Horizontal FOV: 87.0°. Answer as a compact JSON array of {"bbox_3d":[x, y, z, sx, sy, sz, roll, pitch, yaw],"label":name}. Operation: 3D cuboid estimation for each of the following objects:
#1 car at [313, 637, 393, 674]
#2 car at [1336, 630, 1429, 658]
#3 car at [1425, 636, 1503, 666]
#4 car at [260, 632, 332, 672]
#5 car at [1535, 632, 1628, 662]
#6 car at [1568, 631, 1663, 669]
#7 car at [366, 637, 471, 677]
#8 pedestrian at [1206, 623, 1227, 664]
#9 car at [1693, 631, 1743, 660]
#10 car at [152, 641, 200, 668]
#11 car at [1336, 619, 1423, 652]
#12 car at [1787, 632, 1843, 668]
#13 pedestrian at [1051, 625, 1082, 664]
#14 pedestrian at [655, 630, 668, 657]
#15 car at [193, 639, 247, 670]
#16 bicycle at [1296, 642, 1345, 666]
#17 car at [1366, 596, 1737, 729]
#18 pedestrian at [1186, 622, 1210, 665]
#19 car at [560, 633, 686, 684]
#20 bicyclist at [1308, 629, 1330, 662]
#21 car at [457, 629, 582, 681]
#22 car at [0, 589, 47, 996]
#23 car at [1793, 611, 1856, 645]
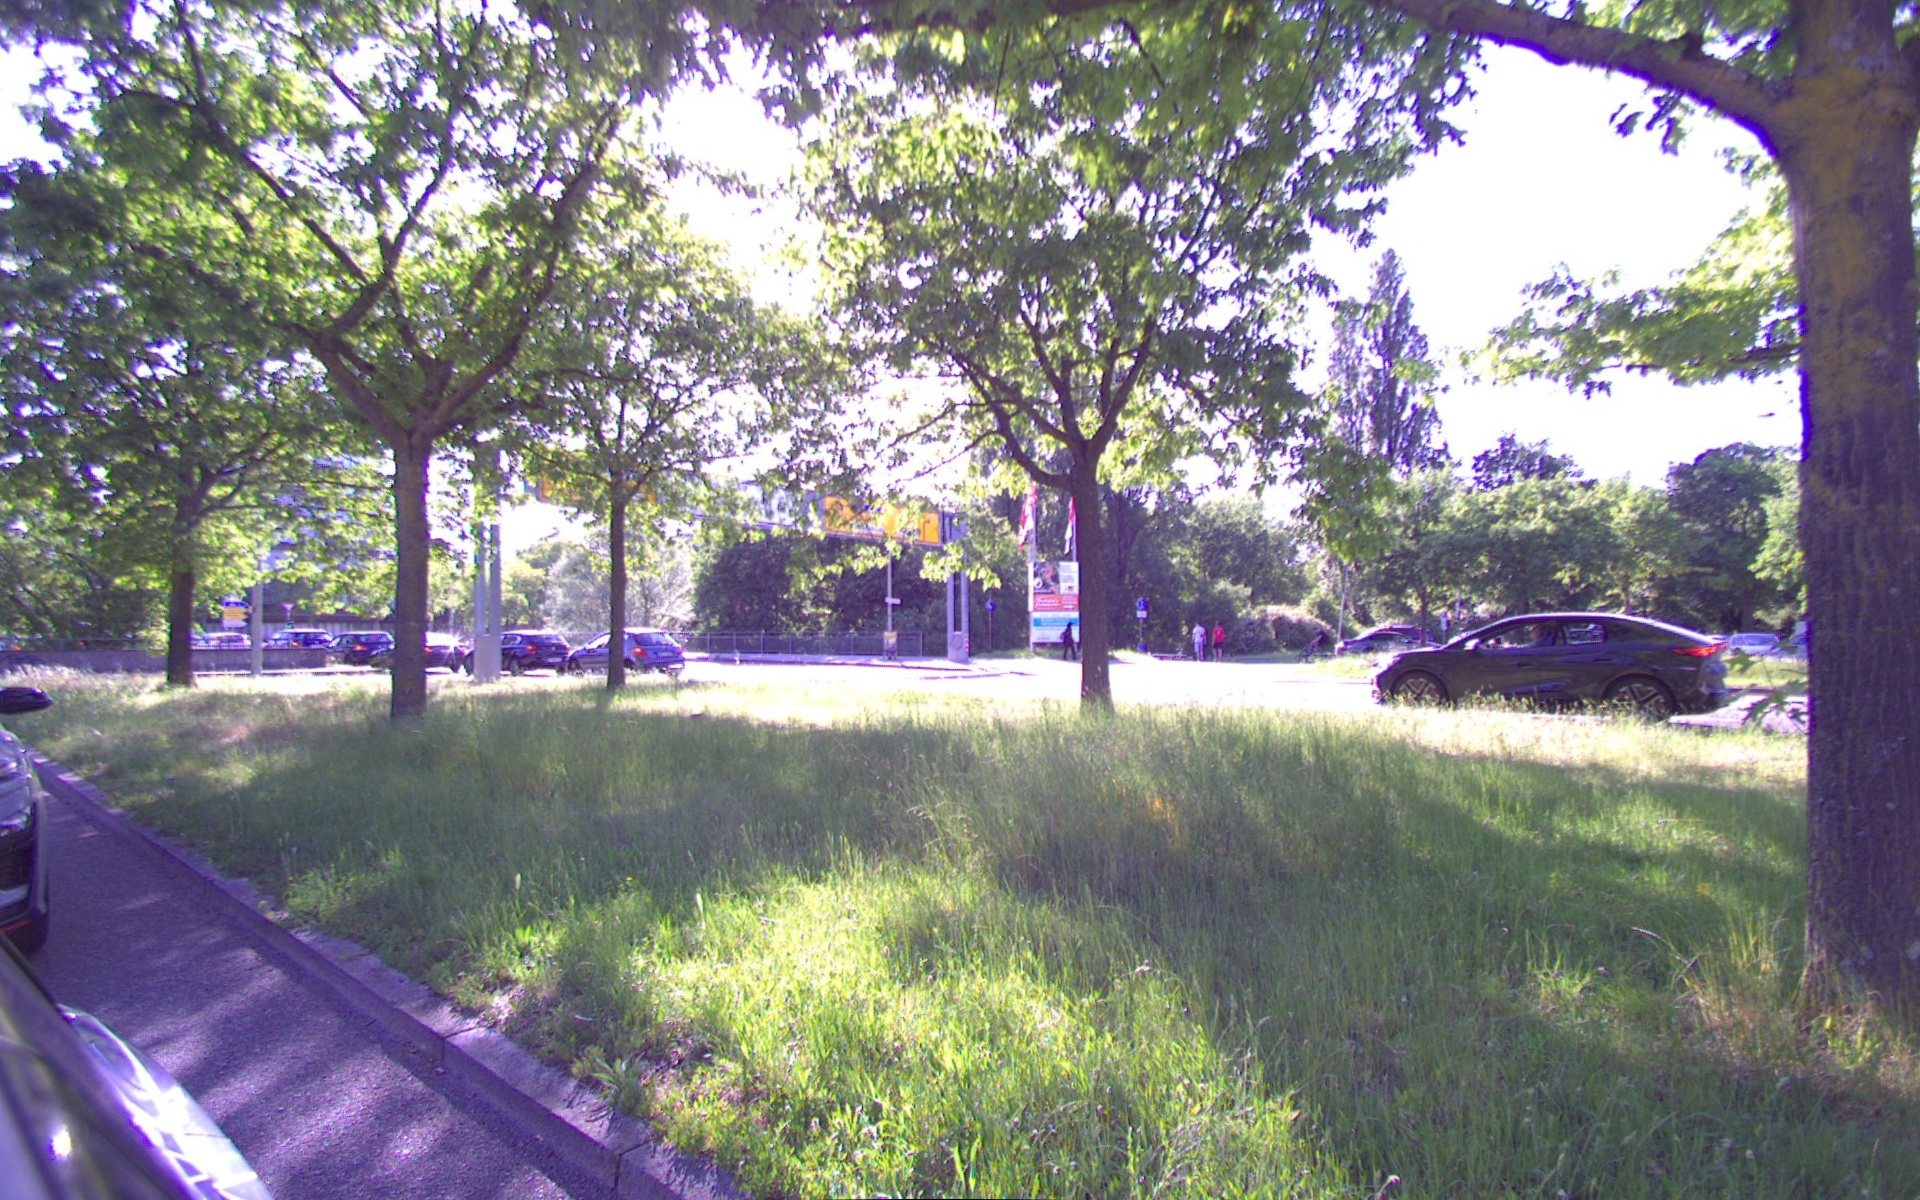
[{"bbox_3d":[-23.409,2.121,39.029,3.195,1.349,1.464,-3,-2,35],"label":"car"},{"bbox_3d":[21.137,2.199,50.755,3.957,1.385,1.826,-1,-2,11],"label":"car"},{"bbox_3d":[31.559,3.191,63.482,3.961,1.807,1.991,-1,-2,14],"label":"car"},{"bbox_3d":[-28.115,2.201,42.831,3.195,1.571,1.433,-4,-3,34],"label":"car"},{"bbox_3d":[23.361,1.772,38.116,2.774,1.072,1.324,-1,-2,23],"label":"car"},{"bbox_3d":[23.541,1.783,36.433,2.783,1.315,1.327,-2,-2,32],"label":"car"},{"bbox_3d":[-19.217,1.984,35.857,4.058,1.323,1.604,-2,-2,35],"label":"car"},{"bbox_3d":[11.444,1.928,45.169,0.742,1.802,0.905,-1,0,3],"label":"pedestrian"},{"bbox_3d":[32.978,1.982,44.112,1.616,1.187,3.040,-2,-2,35],"label":"car"},{"bbox_3d":[-40.073,2.776,51.721,2.761,1.270,1.186,-4,-3,35],"label":"car"},{"bbox_3d":[22.428,1.894,54.286,3.959,1.678,1.992,-1,-2,13],"label":"car"},{"bbox_3d":[35.620,2.063,42.217,1.617,1.430,3.038,-2,-2,38],"label":"car"},{"bbox_3d":[4.562,1.881,43.302,0.985,1.642,0.904,-2,-2,33],"label":"pedestrian"},{"bbox_3d":[-16.829,2.470,57.027,0.544,1.510,0.416,-2,-2,33],"label":"pedestrian"},{"bbox_3d":[-35.050,2.582,47.921,2.875,1.350,1.214,-5,-4,34],"label":"car"},{"bbox_3d":[16.530,2.485,46.383,2.016,1.060,0.684,-1,-2,13],"label":"bicycle"},{"bbox_3d":[8.530,0.850,14.812,4.455,1.660,1.808,-2,-2,39],"label":"car"},{"bbox_3d":[10.691,1.935,45.422,0.847,1.881,0.902,-1,0,2],"label":"pedestrian"},{"bbox_3d":[-9.620,1.645,28.812,3.601,1.374,1.543,-2,-2,35],"label":"car"},{"bbox_3d":[16.466,2.081,46.438,0.839,1.500,0.678,-1,-2,13],"label":"bicyclist"},{"bbox_3d":[-14.159,1.724,32.454,4.215,1.562,1.853,-2,-2,37],"label":"car"},{"bbox_3d":[-5.625,0.766,4.601,3.986,1.544,1.730,-2,-2,41],"label":"car"},{"bbox_3d":[43.895,1.413,51.395,3.694,1.681,1.895,1,-2,-41],"label":"car"}]
